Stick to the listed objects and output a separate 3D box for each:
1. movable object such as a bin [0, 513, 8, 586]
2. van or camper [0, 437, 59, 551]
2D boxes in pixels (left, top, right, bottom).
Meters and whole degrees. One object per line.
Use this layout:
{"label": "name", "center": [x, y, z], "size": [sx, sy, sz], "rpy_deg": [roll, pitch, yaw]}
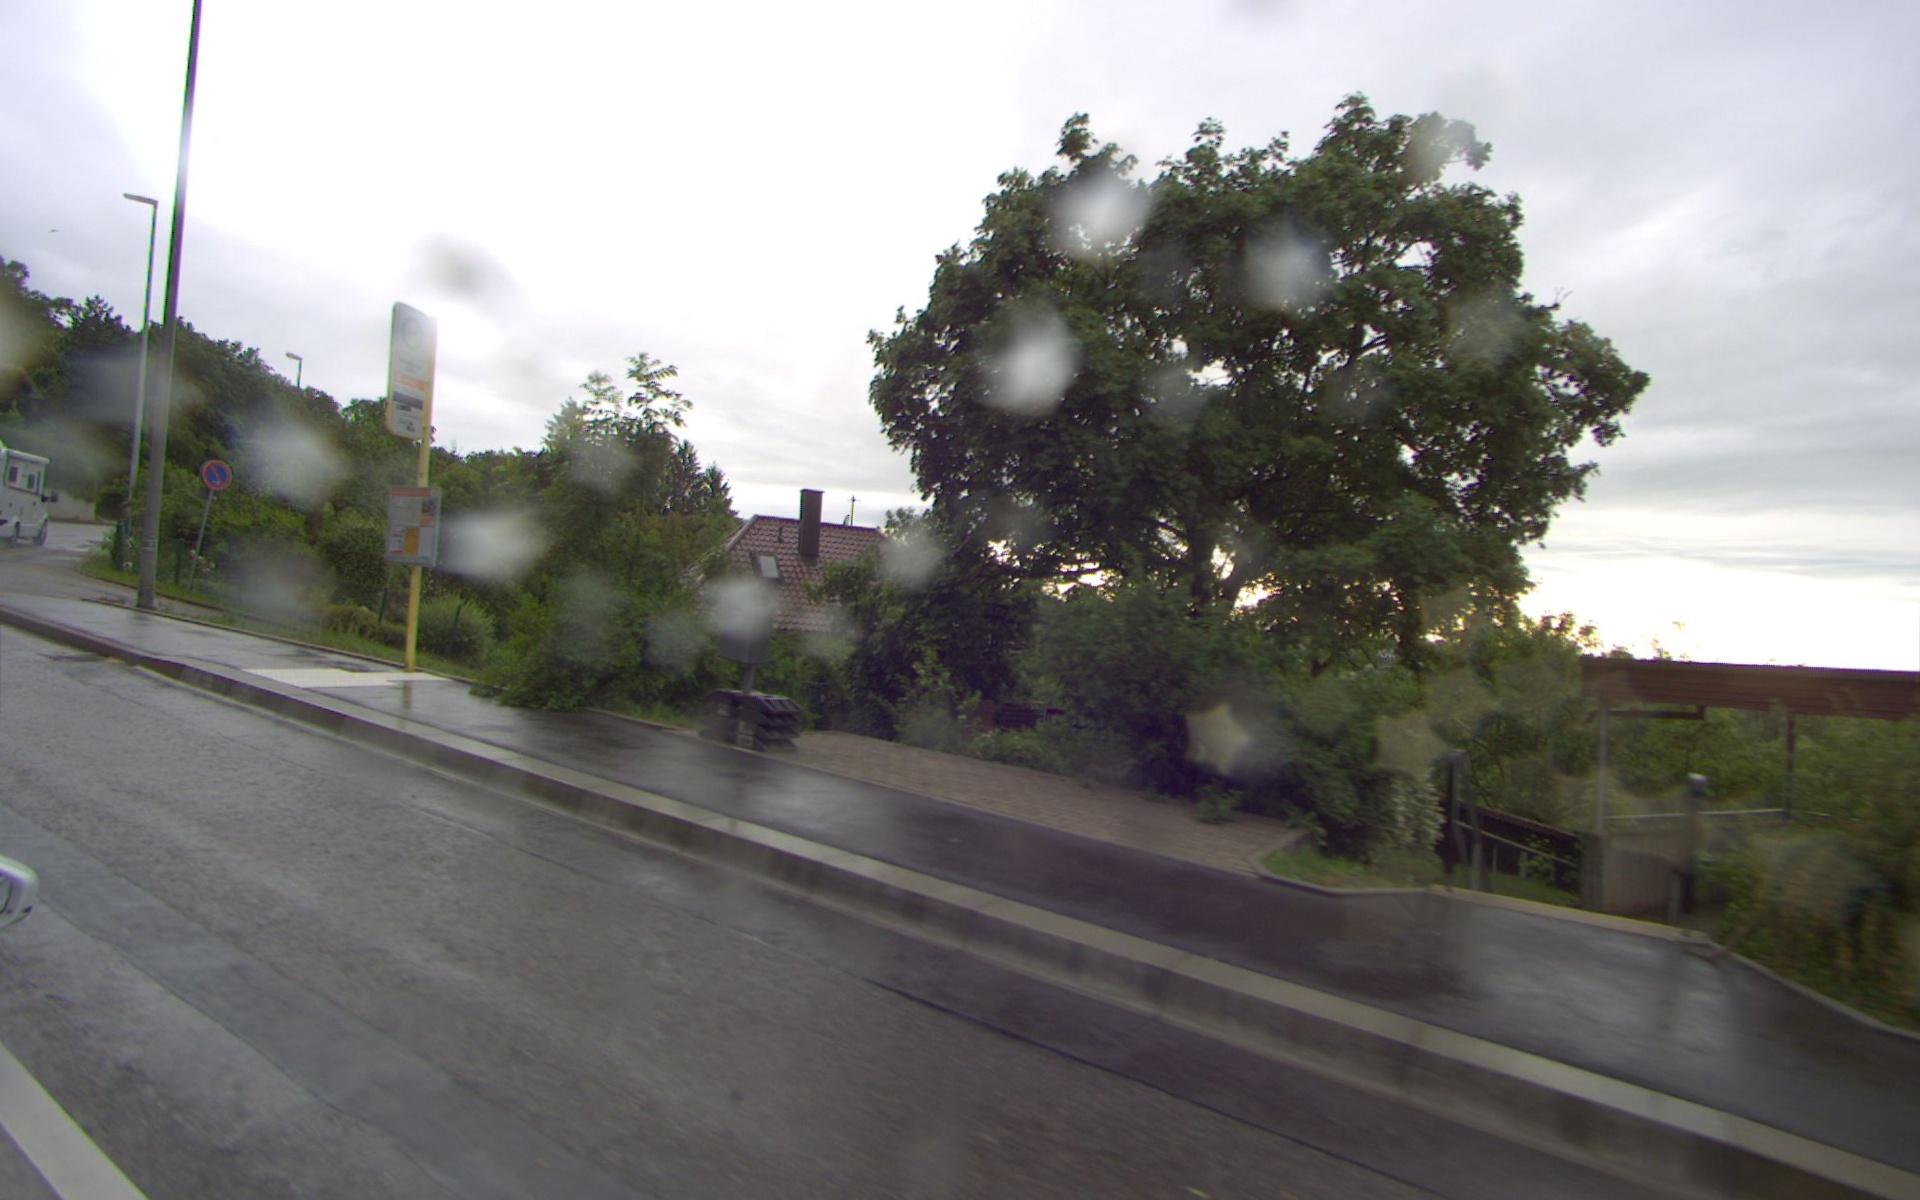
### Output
{"label": "movable object such as a bin", "center": [-14.544, -0.748, 14.671], "size": [0.727, 1.147, 0.777], "rpy_deg": [7, 0, 37]}
{"label": "van or camper", "center": [-27.530, -3.013, 28.068], "size": [2.520, 2.964, 5.896], "rpy_deg": [3, 3, -32]}
